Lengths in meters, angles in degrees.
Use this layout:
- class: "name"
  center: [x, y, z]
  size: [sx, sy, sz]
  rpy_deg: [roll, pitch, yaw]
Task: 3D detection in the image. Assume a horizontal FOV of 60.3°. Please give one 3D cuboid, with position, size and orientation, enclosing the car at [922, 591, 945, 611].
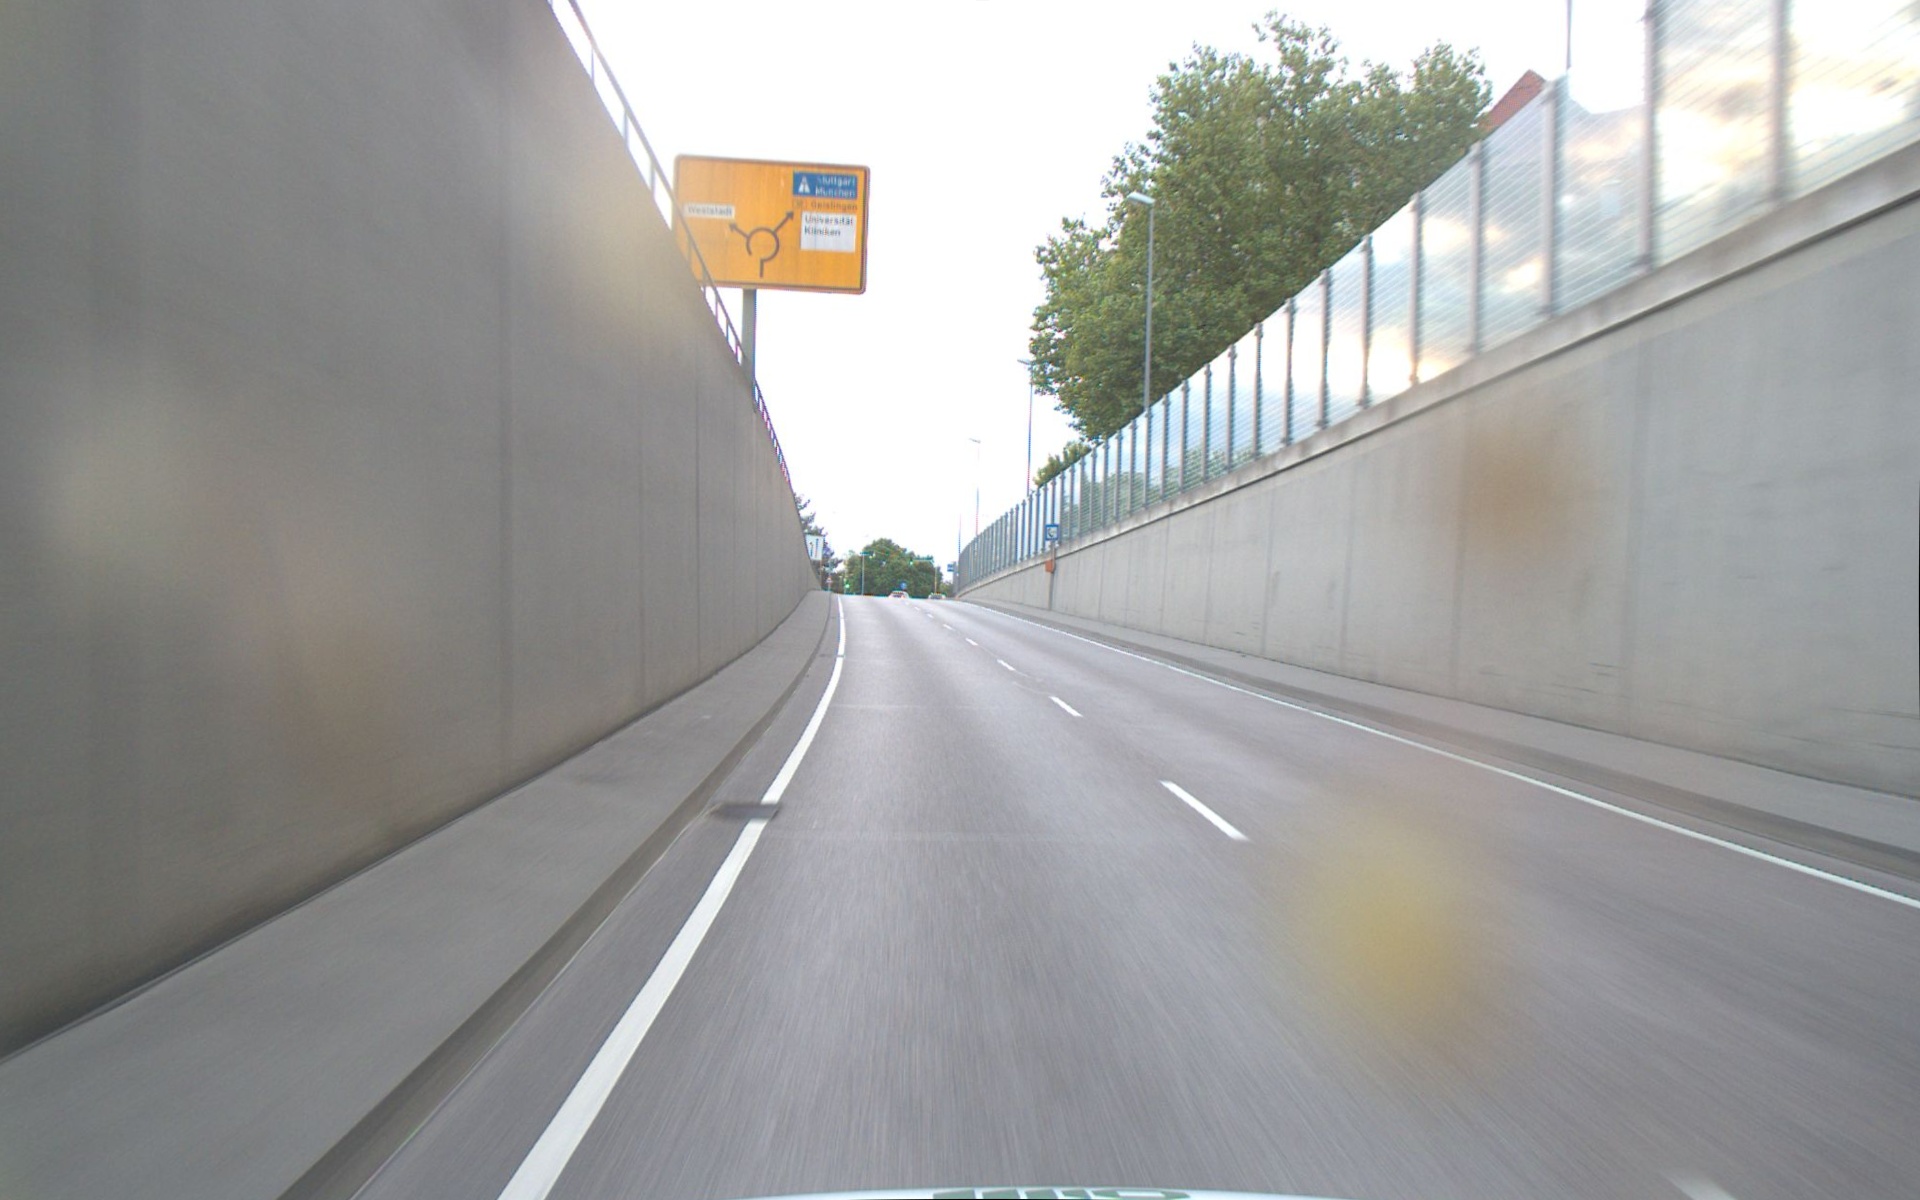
- class: "car"
  center: [-2.449, 0.087, 152.634]
  size: [1.833, 1.763, 3.995]
  rpy_deg: [1, -1, -5]
